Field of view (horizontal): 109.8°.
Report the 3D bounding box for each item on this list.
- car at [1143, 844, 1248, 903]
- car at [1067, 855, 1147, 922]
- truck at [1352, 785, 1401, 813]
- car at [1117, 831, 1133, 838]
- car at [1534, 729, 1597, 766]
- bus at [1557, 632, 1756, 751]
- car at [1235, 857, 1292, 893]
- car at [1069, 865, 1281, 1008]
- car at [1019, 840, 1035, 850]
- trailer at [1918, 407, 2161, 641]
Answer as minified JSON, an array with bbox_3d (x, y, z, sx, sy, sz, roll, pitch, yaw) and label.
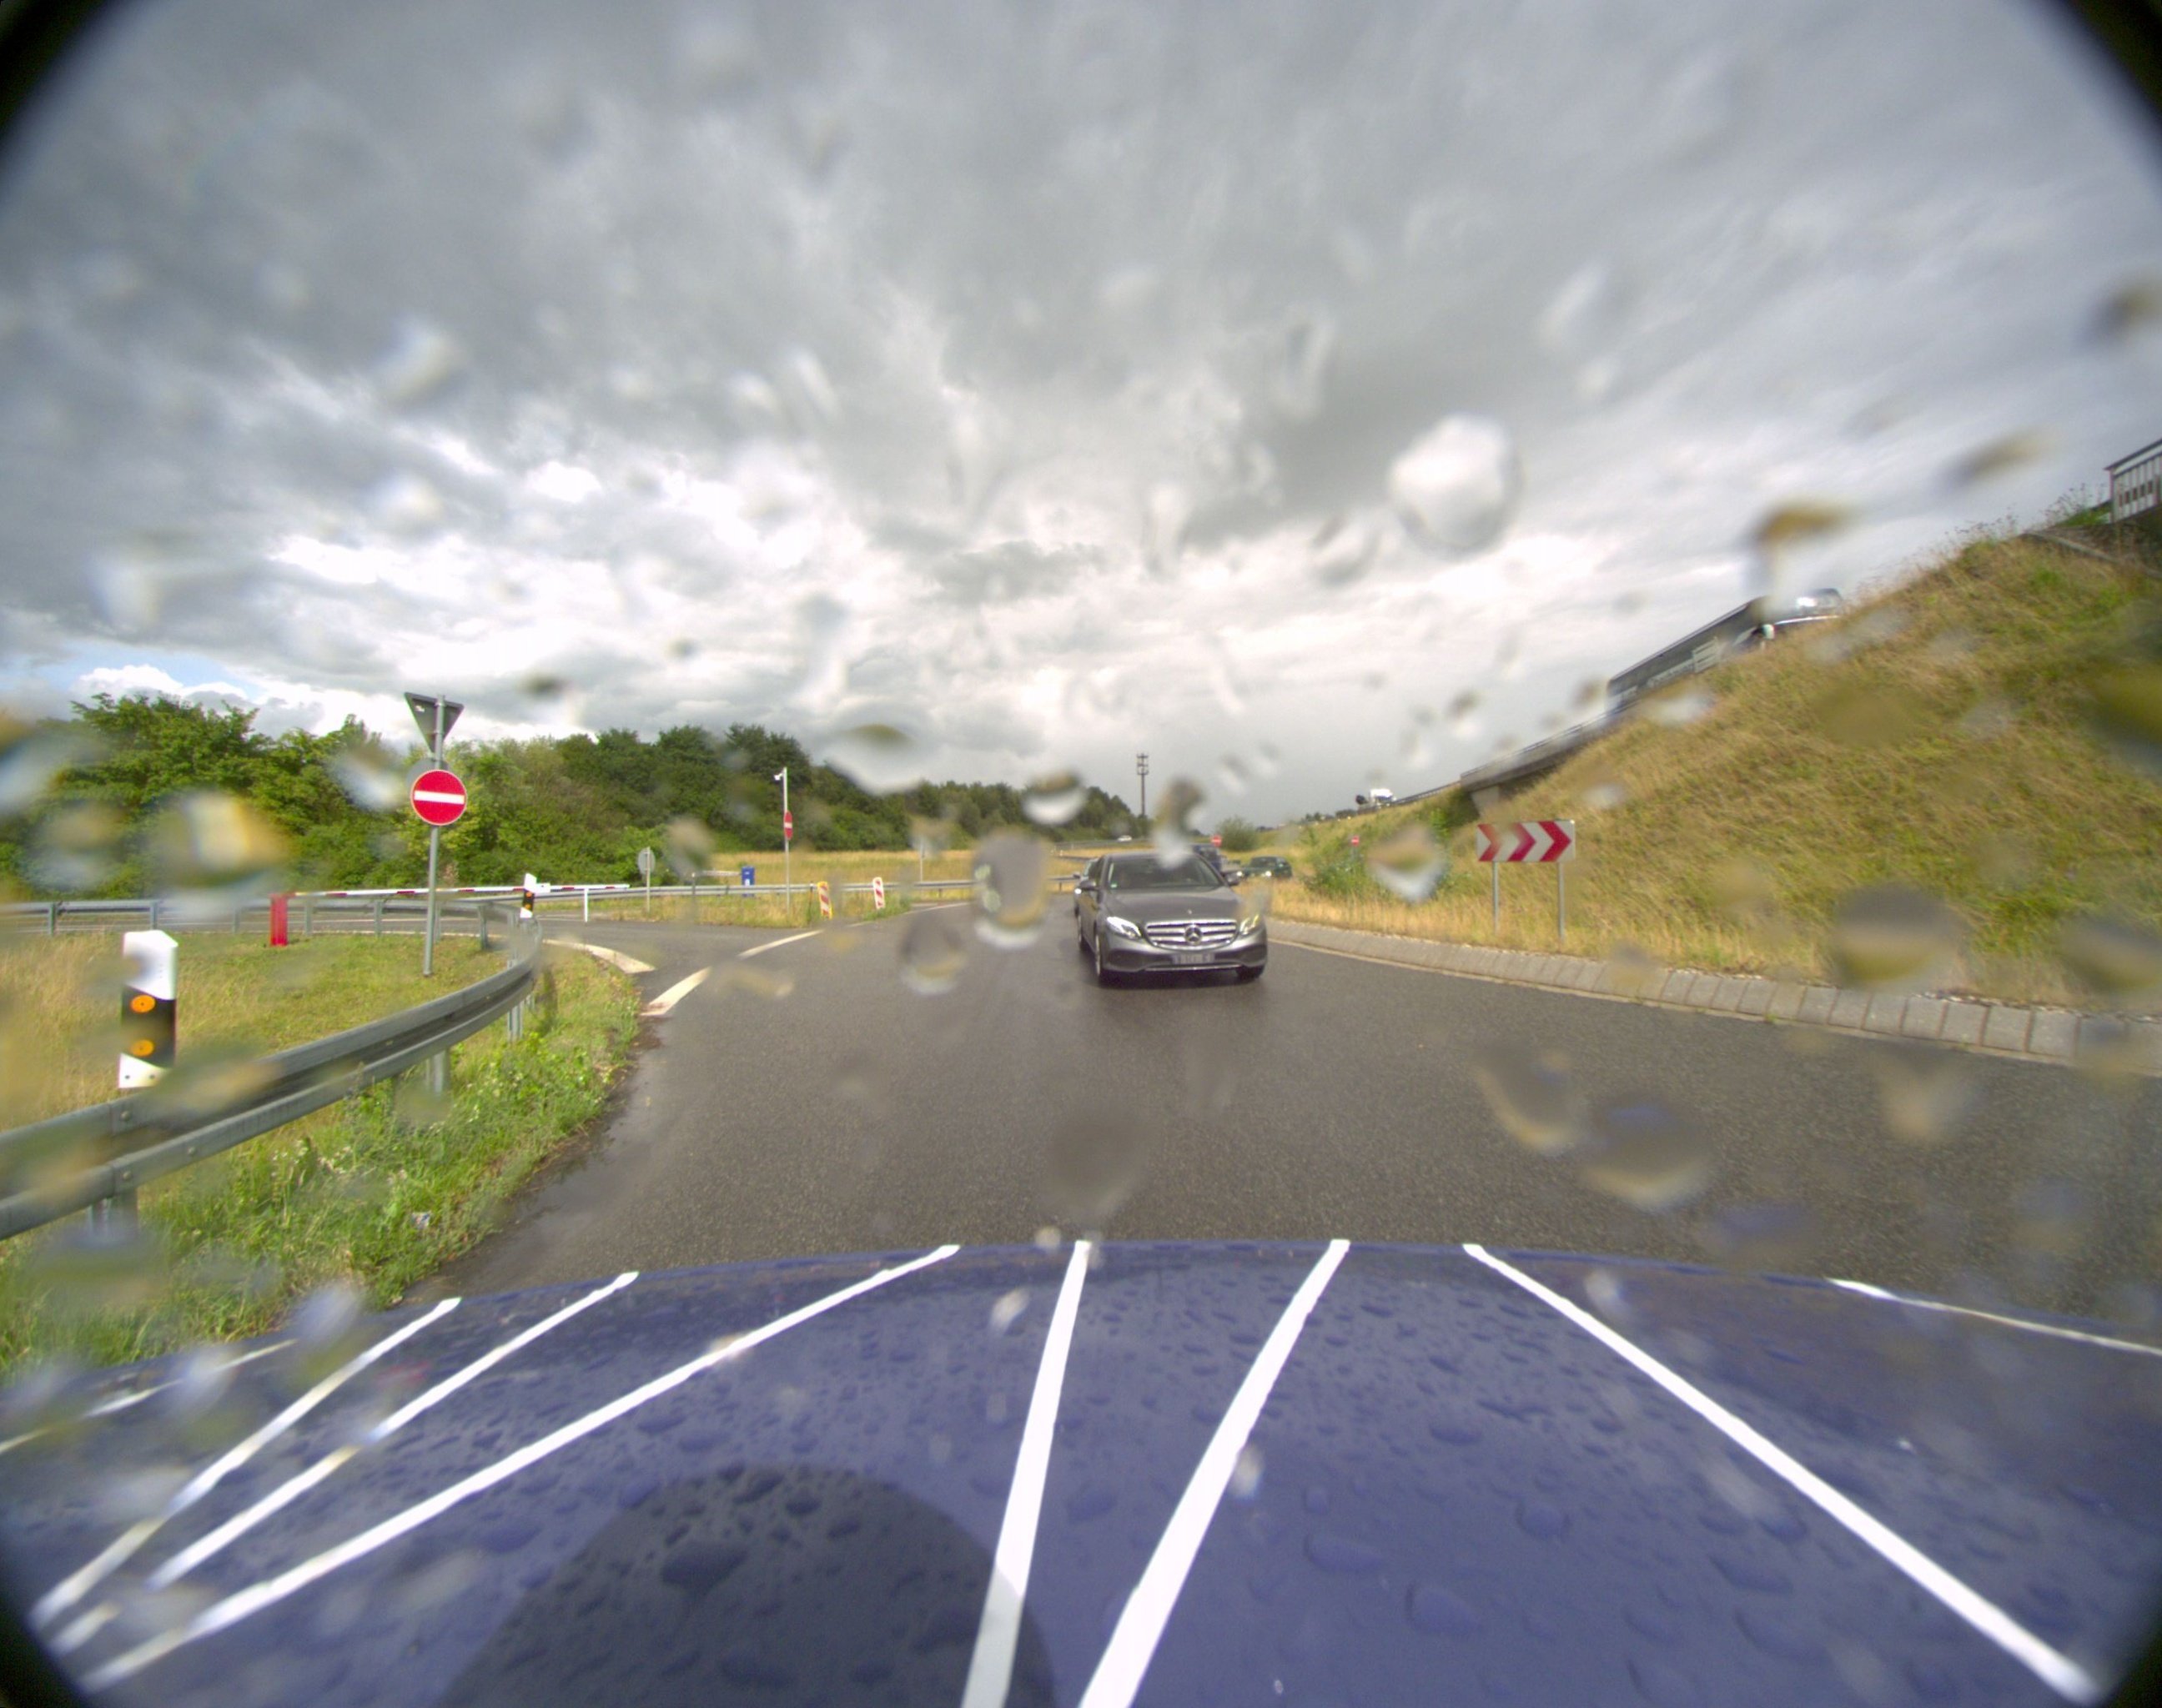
[{"bbox_3d":[4.565,0.688,29.356,1.889,1.904,5.691,-2,1,31],"label":"car"},{"bbox_3d":[0.602,0.794,19.437,1.797,1.390,4.348,1,1,0],"label":"car"},{"bbox_3d":[41.906,-7.727,107.979,3.159,3.176,9.277,-2,0,-1],"label":"truck"},{"bbox_3d":[10.710,-4.698,185.615,1.762,1.634,3.902,-1,1,42],"label":"car"},{"bbox_3d":[31.533,-6.922,49.631,1.711,1.517,4.497,-11,-1,11],"label":"car"},{"bbox_3d":[28.435,-7.721,38.789,2.608,3.062,14.478,-2,0,14],"label":"bus"},{"bbox_3d":[8.049,0.862,33.332,1.770,1.476,3.840,0,0,24],"label":"car"},{"bbox_3d":[0.904,0.859,9.817,1.771,1.383,4.590,-1,-1,-5],"label":"car"},{"bbox_3d":[-8.791,-1.455,123.825,1.975,1.528,3.931,0,0,6],"label":"car"},{"bbox_3d":[21.976,-7.047,15.809,2.183,2.854,8.341,-2,0,17],"label":"trailer"}]
